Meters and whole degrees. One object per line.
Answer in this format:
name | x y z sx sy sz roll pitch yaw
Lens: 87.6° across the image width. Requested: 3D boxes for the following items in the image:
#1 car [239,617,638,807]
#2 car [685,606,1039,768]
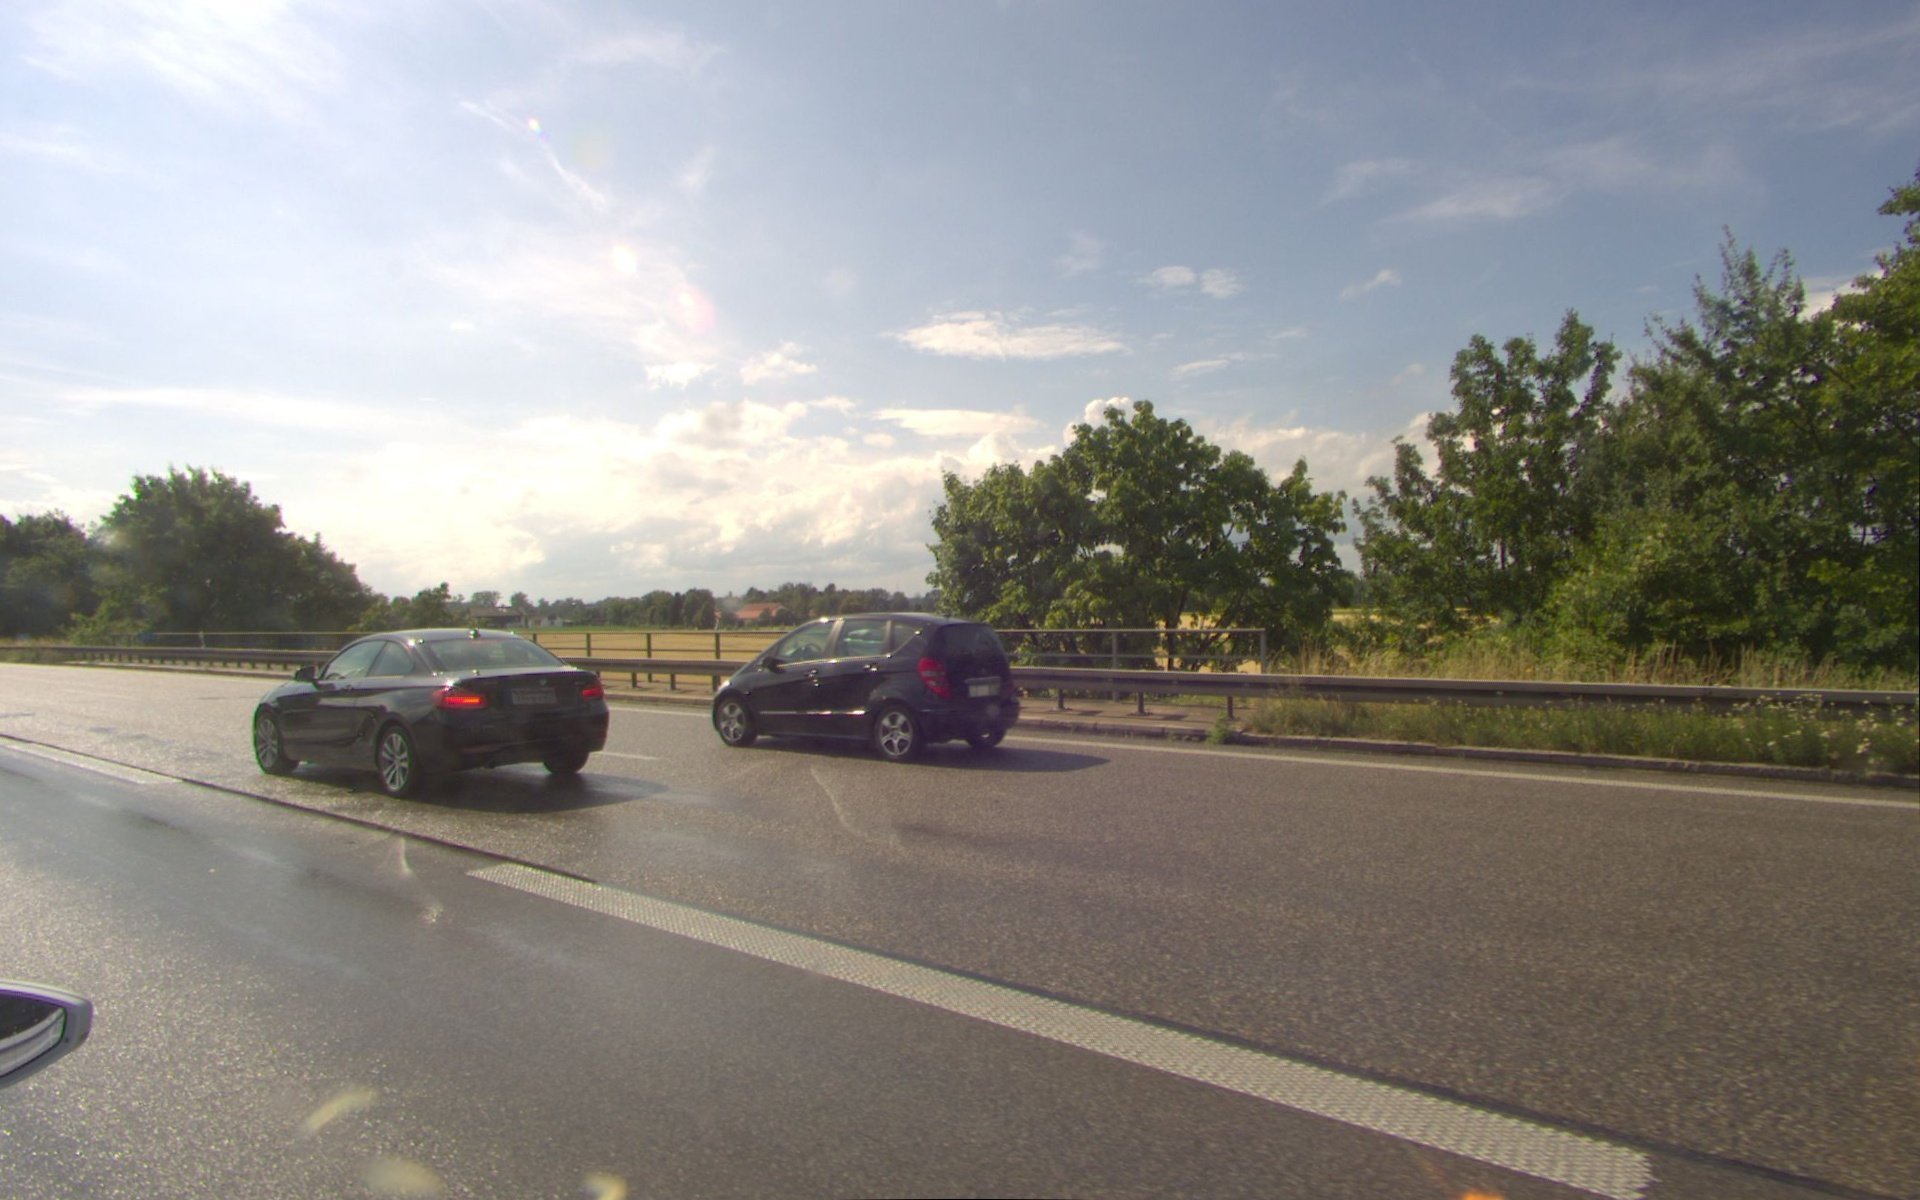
car | -5.281 0.949 9.952 4.200 1.483 1.842 -1 -1 36
car | -1.232 0.921 11.781 3.948 1.589 1.843 -1 -2 36
